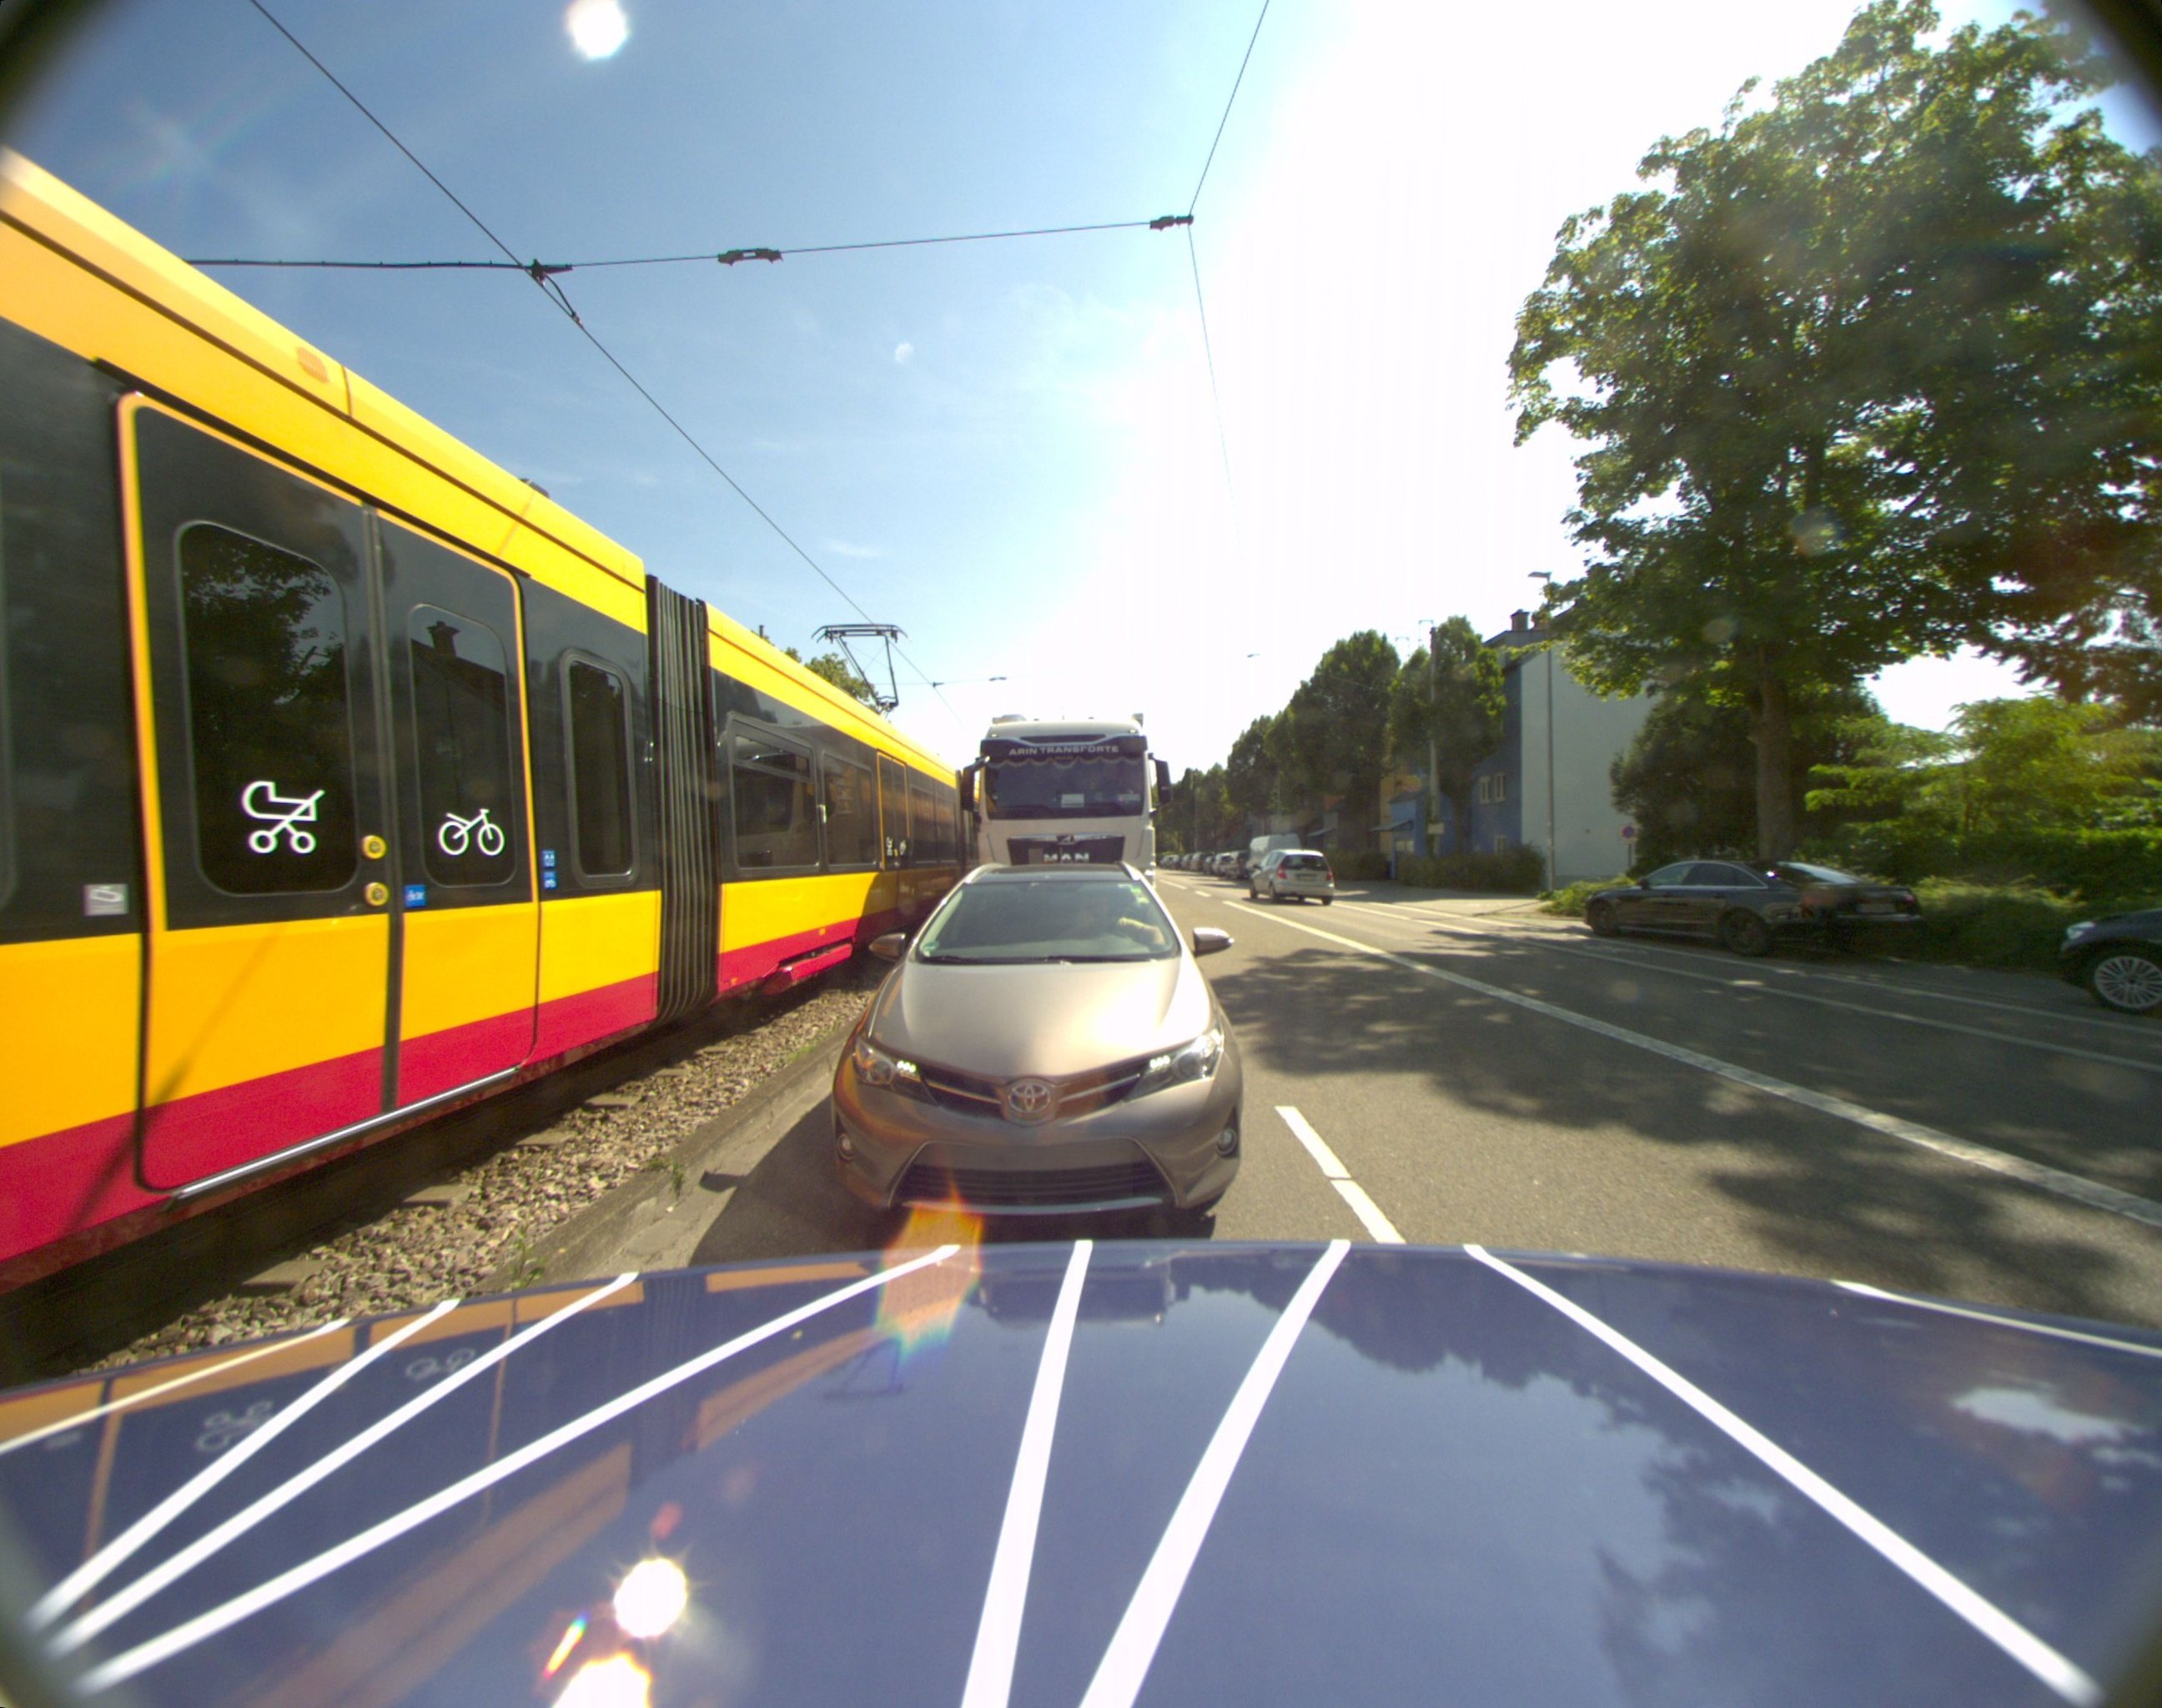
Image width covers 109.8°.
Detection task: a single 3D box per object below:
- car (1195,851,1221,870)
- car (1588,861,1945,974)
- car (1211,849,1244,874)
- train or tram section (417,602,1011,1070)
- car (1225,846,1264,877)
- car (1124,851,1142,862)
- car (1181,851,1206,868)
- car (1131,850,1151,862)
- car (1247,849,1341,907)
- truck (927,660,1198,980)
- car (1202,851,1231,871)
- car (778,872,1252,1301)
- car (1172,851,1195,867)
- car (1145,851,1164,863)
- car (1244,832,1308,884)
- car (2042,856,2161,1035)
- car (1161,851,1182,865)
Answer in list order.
[{"bbox_3d":[11.217,0.538,67.347,1.679,1.493,3.766,-4,0,1],"label":"car"},{"bbox_3d":[10.540,0.868,12.266,1.679,1.427,4.457,0,0,-1],"label":"car"},{"bbox_3d":[10.990,0.536,57.224,1.679,1.659,4.148,-4,0,1],"label":"car"},{"bbox_3d":[-3.778,-0.258,15.536,2.679,3.631,18.955,-2,1,0],"label":"train or tram section"},{"bbox_3d":[11.045,0.471,51.577,1.679,1.925,4.457,-4,0,1],"label":"car"},{"bbox_3d":[7.503,0.374,109.625,1.680,1.493,3.762,-2,1,-10],"label":"car"},{"bbox_3d":[10.854,0.524,73.460,1.679,1.493,3.765,-4,0,-3],"label":"car"},{"bbox_3d":[8.251,0.316,104.860,1.680,1.493,3.763,-4,0,-10],"label":"car"},{"bbox_3d":[6.423,0.666,23.378,1.847,1.587,4.000,1,1,1],"label":"car"},{"bbox_3d":[-0.141,-0.466,17.033,3.391,4.046,14.286,-2,0,1],"label":"truck"},{"bbox_3d":[11.144,0.571,62.647,1.679,1.493,3.766,-4,0,1],"label":"car"},{"bbox_3d":[-0.217,0.917,4.836,1.719,1.439,4.030,-2,0,1],"label":"car"},{"bbox_3d":[10.621,0.514,78.904,1.679,1.493,3.765,-4,0,-3],"label":"car"},{"bbox_3d":[9.339,0.377,96.721,1.679,1.493,3.765,-4,0,-4],"label":"car"},{"bbox_3d":[10.974,0.177,43.246,2.016,2.636,6.086,-4,0,1],"label":"car"},{"bbox_3d":[10.536,0.830,5.520,1.679,1.603,4.242,0,0,-1],"label":"car"},{"bbox_3d":[10.163,0.439,85.915,1.679,1.493,3.765,-4,0,-3],"label":"car"}]
